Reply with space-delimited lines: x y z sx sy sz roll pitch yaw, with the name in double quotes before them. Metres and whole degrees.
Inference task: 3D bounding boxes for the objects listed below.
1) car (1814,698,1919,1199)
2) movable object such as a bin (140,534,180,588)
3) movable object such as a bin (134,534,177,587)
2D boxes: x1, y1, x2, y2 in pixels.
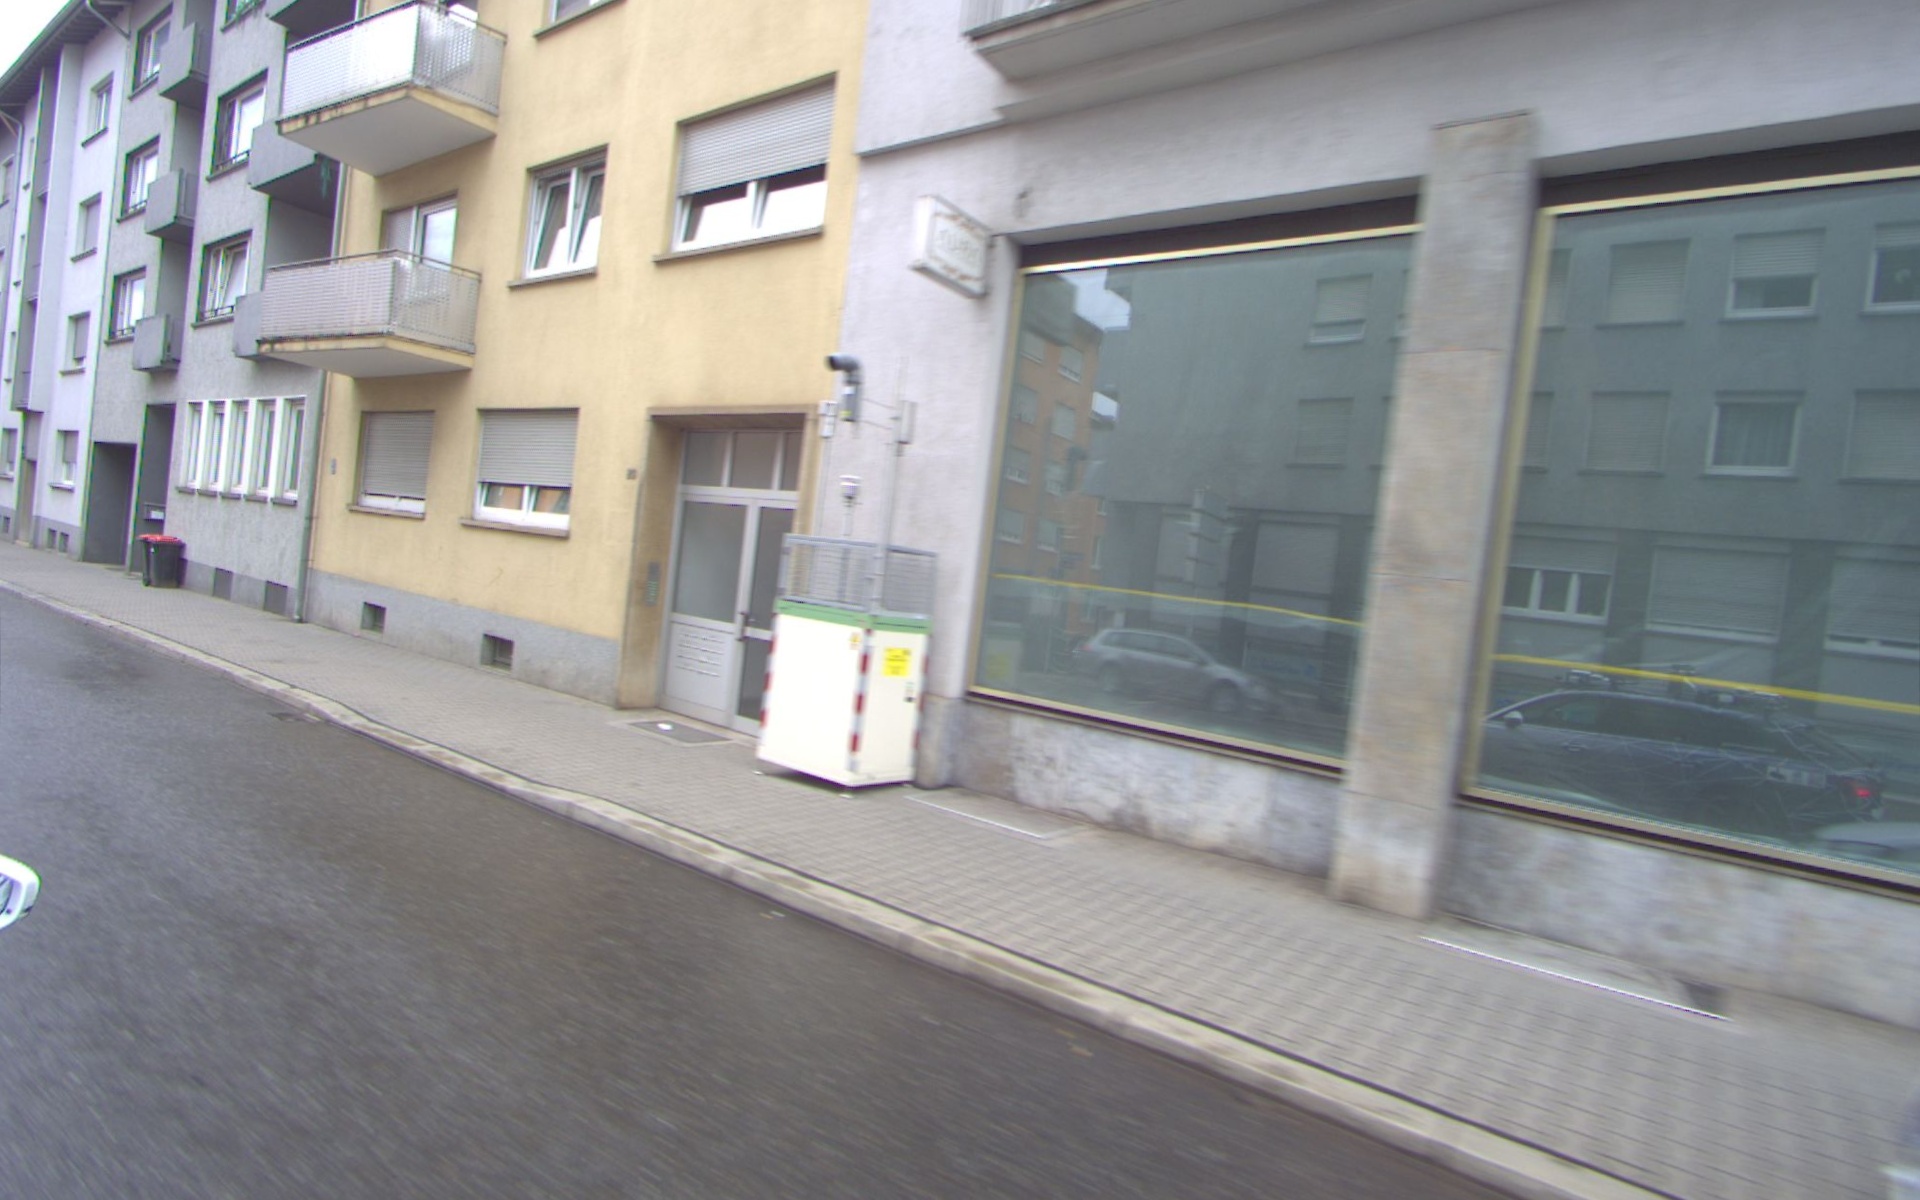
"car" 4.157 1.274 1.163 4.536 1.423 1.889 7 6 35
"movable object such as a bin" -15.221 -0.740 19.137 0.556 0.976 0.471 8 5 39
"movable object such as a bin" -15.603 -0.766 19.520 0.467 0.976 0.561 8 5 40
